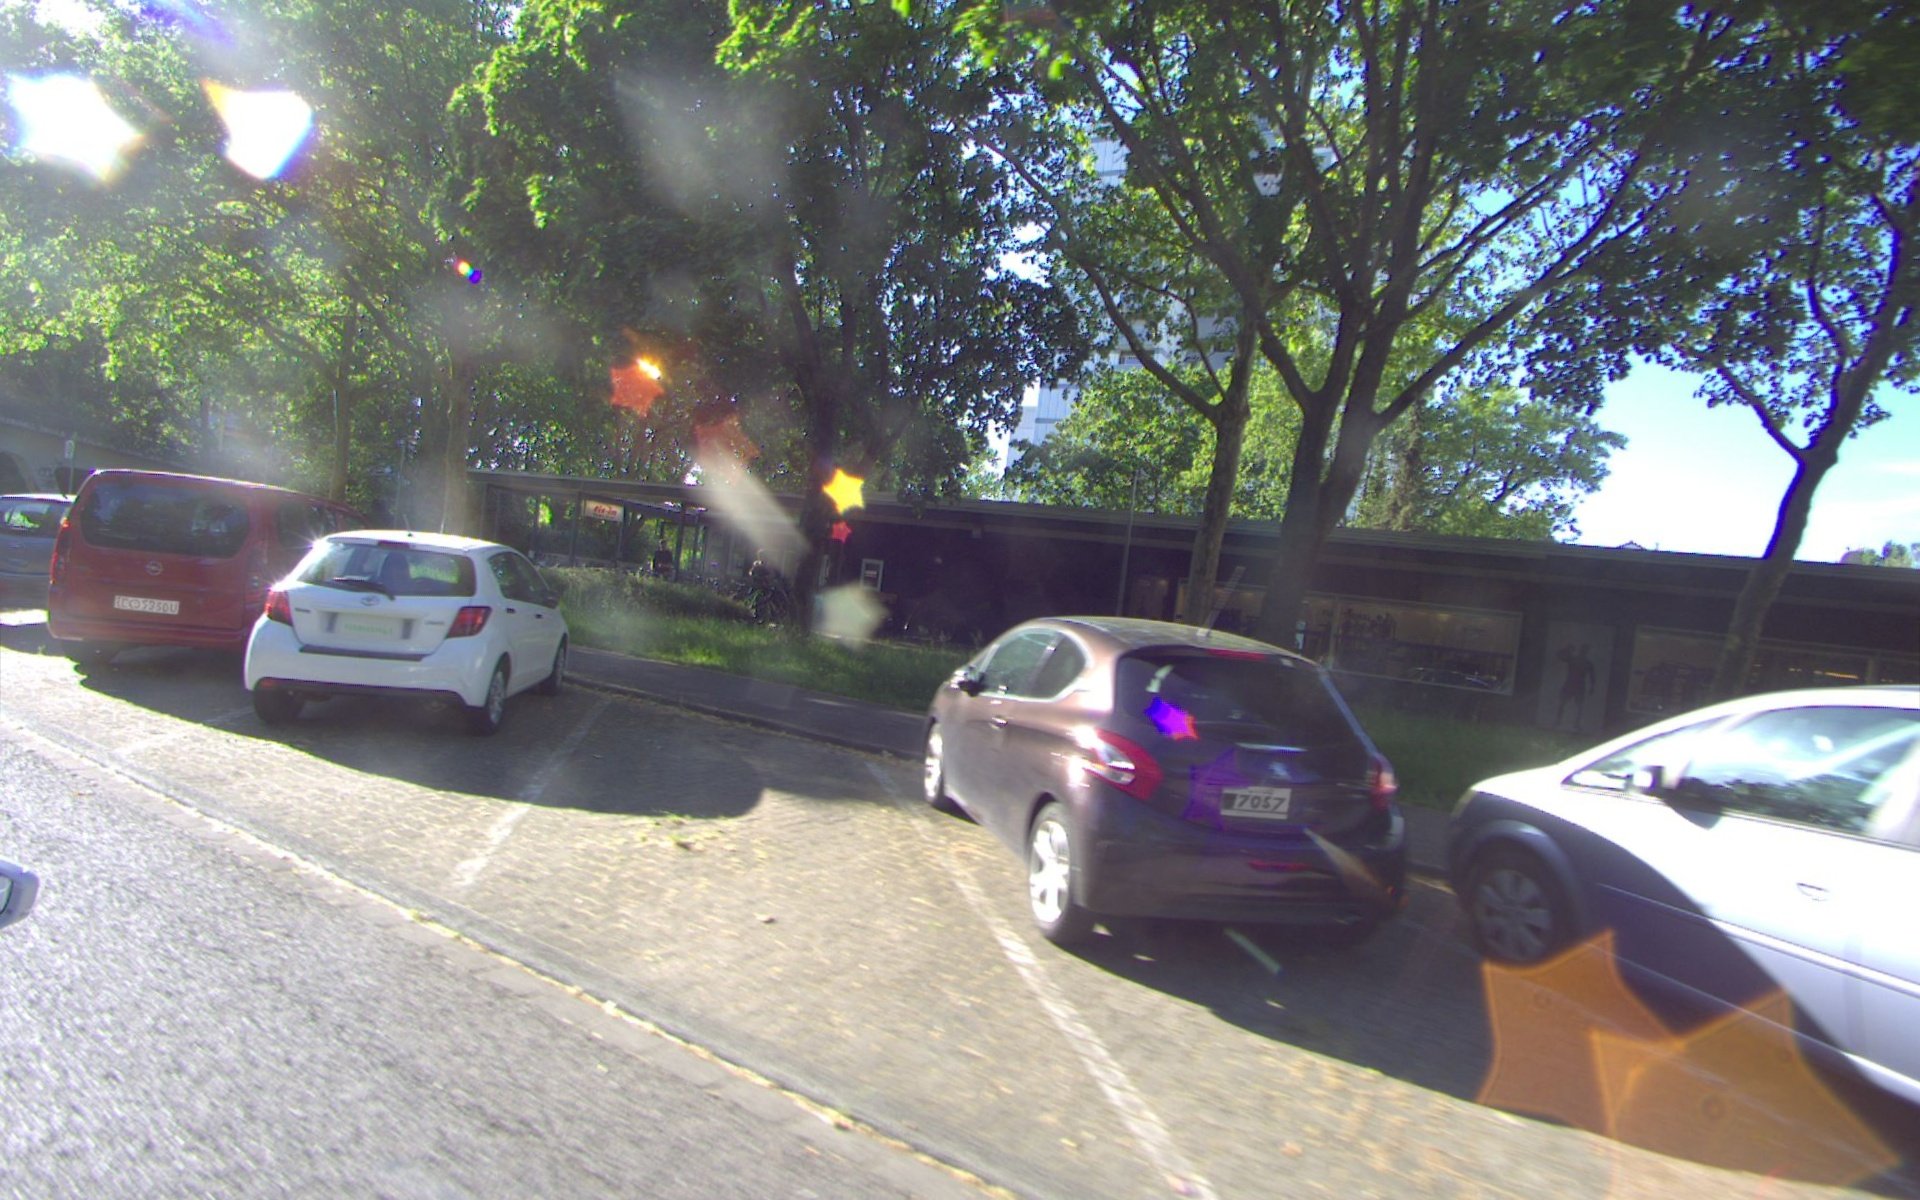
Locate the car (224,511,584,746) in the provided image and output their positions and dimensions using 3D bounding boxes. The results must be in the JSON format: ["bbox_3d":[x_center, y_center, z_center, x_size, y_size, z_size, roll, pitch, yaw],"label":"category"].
[{"bbox_3d":[-4.576,0.163,8.904,1.654,1.514,3.618,6,1,-11],"label":"car"}]

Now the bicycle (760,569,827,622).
[{"bbox_3d":[-4.646,-0.119,28.035,1.776,1.268,0.576,6,-1,32],"label":"bicycle"}]

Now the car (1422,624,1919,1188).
[{"bbox_3d":[3.783,1.100,3.698,1.673,1.611,3.709,6,1,-15],"label":"car"}]

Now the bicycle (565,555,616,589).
[{"bbox_3d":[-14.372,-1.093,39.153,0.698,1.129,1.804,5,0,26],"label":"bicycle"}]

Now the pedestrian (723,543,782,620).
[{"bbox_3d":[-5.381,-0.471,26.092,0.935,1.863,0.966,7,1,24],"label":"pedestrian"}]

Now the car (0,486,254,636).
[{"bbox_3d":[-10.501,-0.509,12.391,1.493,1.491,3.818,6,1,-13],"label":"car"}]

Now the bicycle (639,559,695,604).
[{"bbox_3d":[-9.483,-0.602,32.508,1.776,1.268,0.576,6,-1,32],"label":"bicycle"}]

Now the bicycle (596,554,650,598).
[{"bbox_3d":[-11.246,-0.799,33.521,1.776,1.268,0.576,6,-1,32],"label":"bicycle"}]

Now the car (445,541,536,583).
[{"bbox_3d":[-23.752,-1.888,51.036,1.638,1.514,3.985,9,0,22],"label":"car"}]

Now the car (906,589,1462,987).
[{"bbox_3d":[0.883,0.809,6.011,1.655,1.477,3.734,6,1,-13],"label":"car"}]

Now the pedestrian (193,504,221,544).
[{"bbox_3d":[-36.377,-3.681,48.596,0.726,1.800,0.659,8,1,24],"label":"pedestrian"}]

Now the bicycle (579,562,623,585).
[{"bbox_3d":[-16.608,-1.226,46.552,2.158,0.972,0.505,3,0,27],"label":"bicycle"}]

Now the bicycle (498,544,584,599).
[{"bbox_3d":[-10.226,-0.670,24.658,0.551,1.172,2.071,7,1,22],"label":"bicycle"}]

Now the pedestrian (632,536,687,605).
[{"bbox_3d":[-8.160,-0.792,27.344,0.719,1.729,1.130,7,1,24],"label":"pedestrian"}]

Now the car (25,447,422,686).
[{"bbox_3d":[-7.335,-0.328,10.580,1.739,1.866,3.941,6,1,-11],"label":"car"}]

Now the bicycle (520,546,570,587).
[{"bbox_3d":[-14.642,-1.180,35.469,1.776,1.268,0.576,6,-1,32],"label":"bicycle"}]

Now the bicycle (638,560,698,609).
[{"bbox_3d":[-8.832,-0.471,30.433,1.776,1.268,0.576,6,-1,32],"label":"bicycle"}]

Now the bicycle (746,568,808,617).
[{"bbox_3d":[-5.544,-0.233,30.459,1.776,1.268,0.576,6,-1,32],"label":"bicycle"}]

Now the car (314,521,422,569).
[{"bbox_3d":[-26.764,-2.473,45.599,1.680,1.514,3.736,9,0,30],"label":"car"}]
